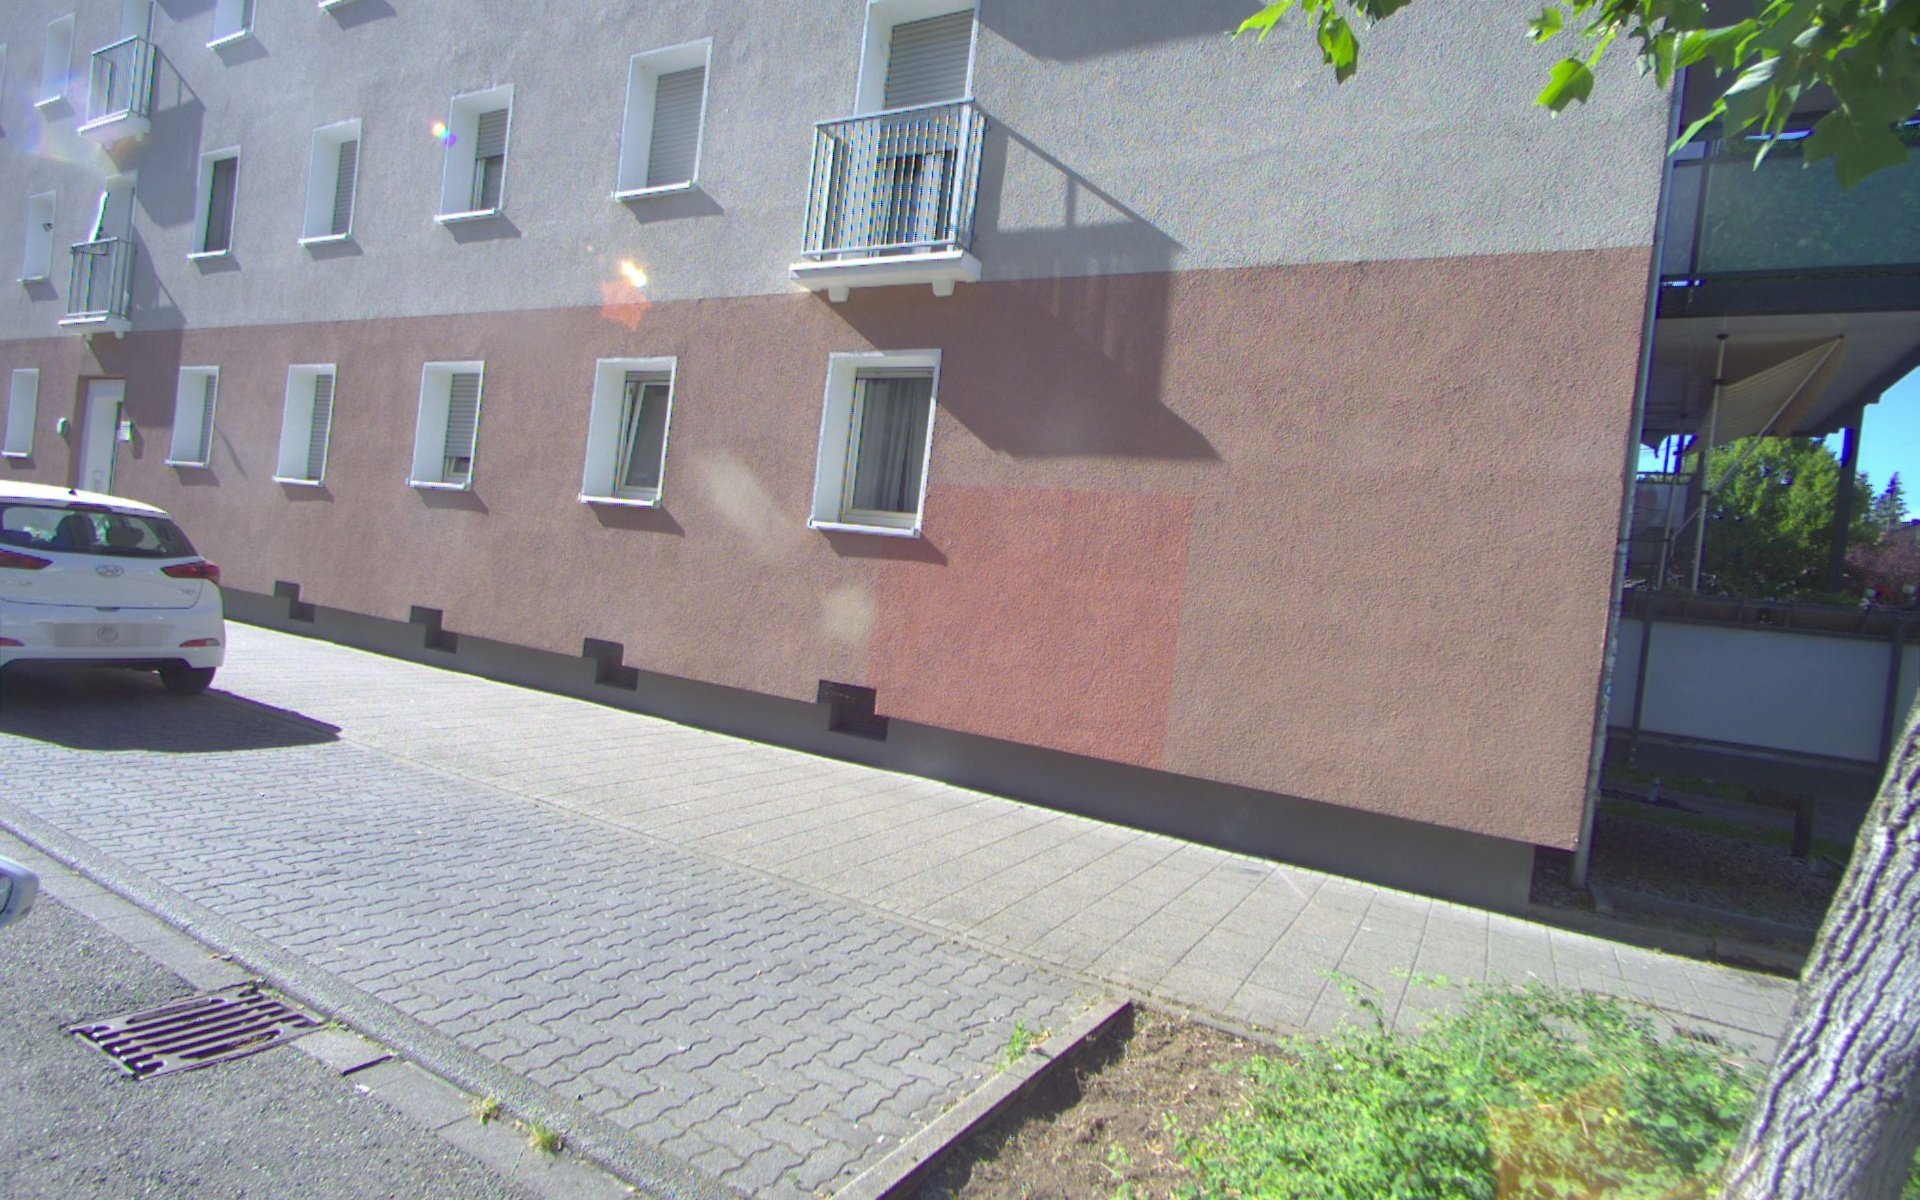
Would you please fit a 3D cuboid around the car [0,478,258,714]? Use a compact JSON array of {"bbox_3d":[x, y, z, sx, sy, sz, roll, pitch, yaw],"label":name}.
[{"bbox_3d":[-7.459,-0.189,7.826,3.729,1.505,1.733,7,2,29],"label":"car"}]
